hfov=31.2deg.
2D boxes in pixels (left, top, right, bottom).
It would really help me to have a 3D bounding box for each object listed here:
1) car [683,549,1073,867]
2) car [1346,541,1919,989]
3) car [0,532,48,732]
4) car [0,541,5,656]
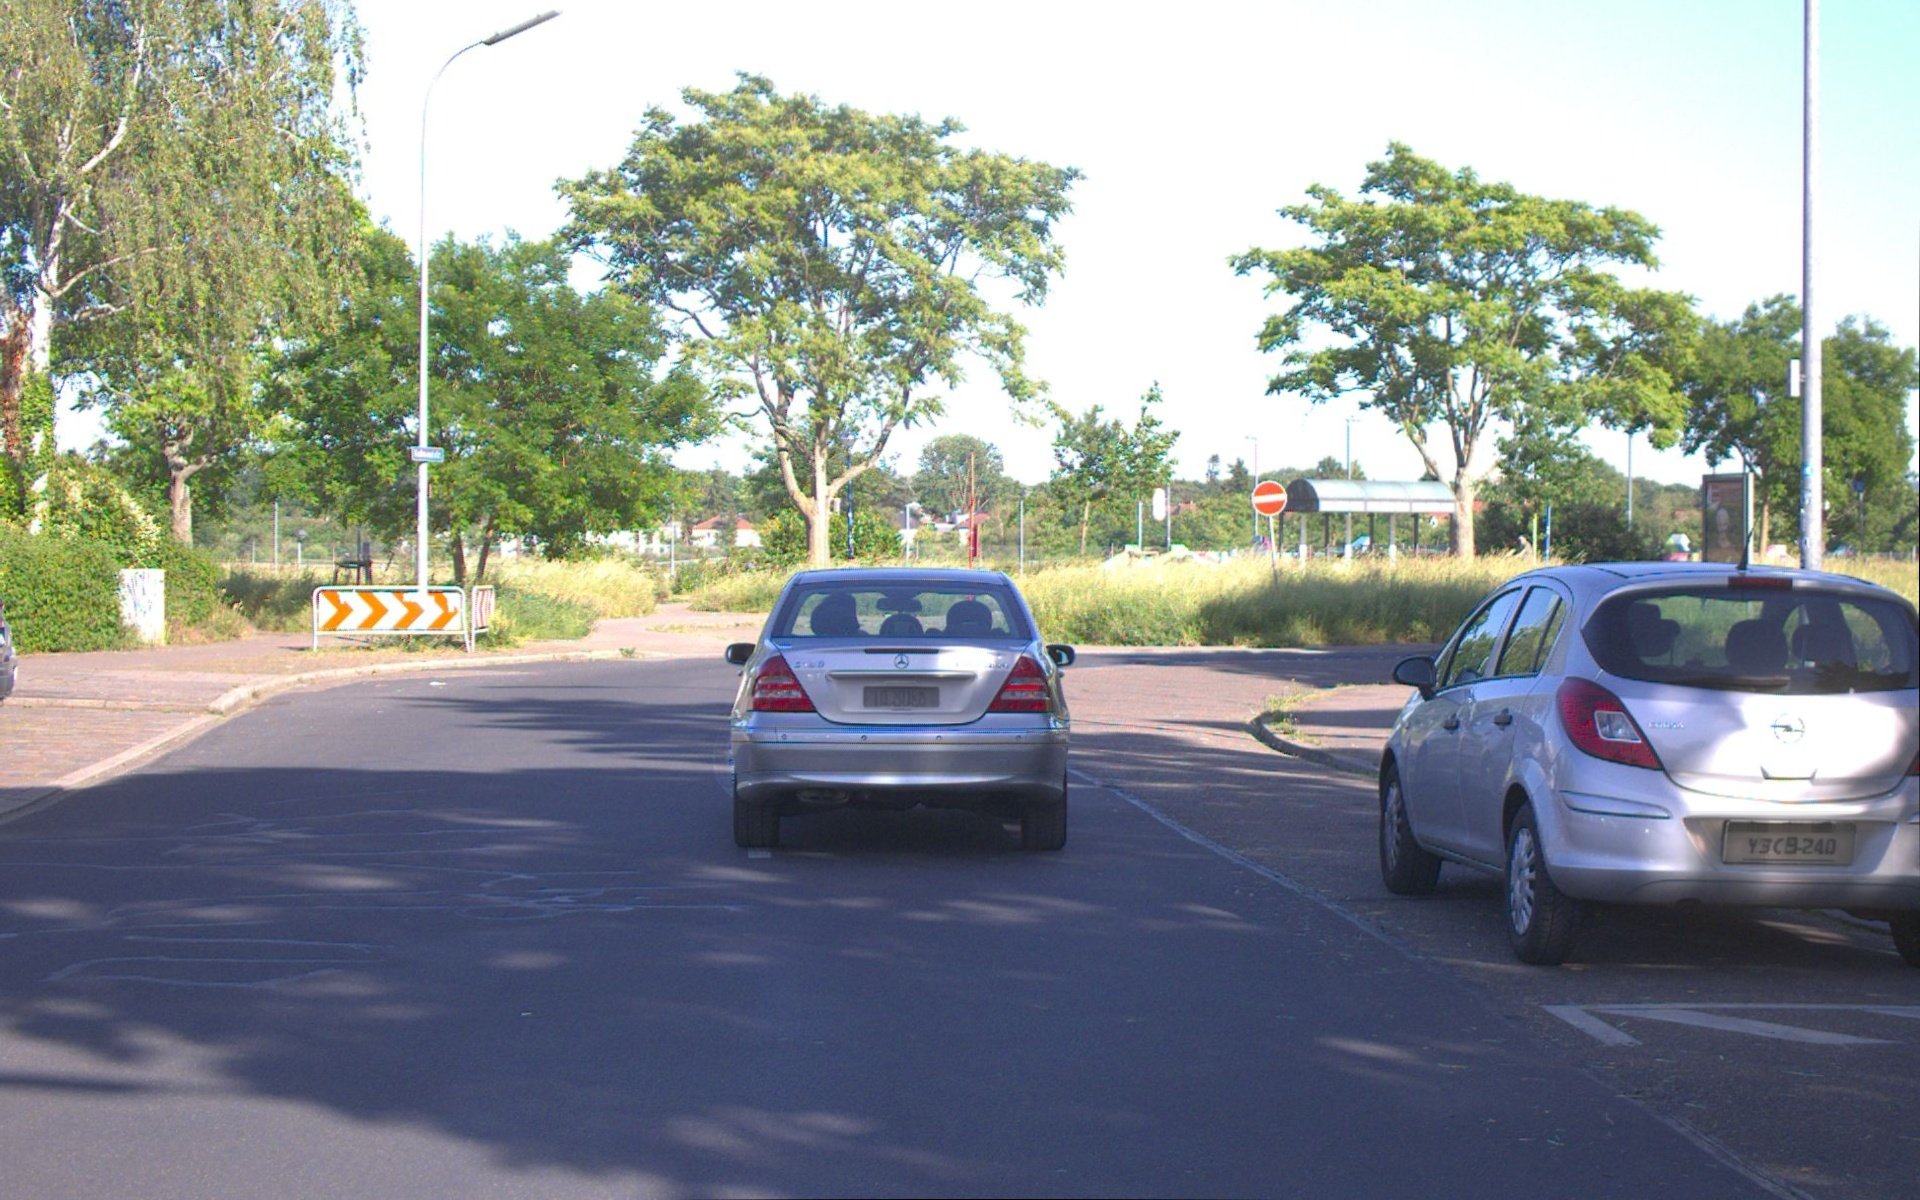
[{"bbox_3d":[-0.368,0.482,18.540,1.816,1.458,4.361,2,1,1],"label":"car"},{"bbox_3d":[2.769,0.578,13.916,1.731,1.538,3.789,1,0,-4],"label":"car"},{"bbox_3d":[-9.688,0.172,28.029,3.986,1.606,1.819,3,0,-2],"label":"car"},{"bbox_3d":[-8.374,0.317,22.708,3.612,1.601,1.733,3,0,-2],"label":"car"}]
